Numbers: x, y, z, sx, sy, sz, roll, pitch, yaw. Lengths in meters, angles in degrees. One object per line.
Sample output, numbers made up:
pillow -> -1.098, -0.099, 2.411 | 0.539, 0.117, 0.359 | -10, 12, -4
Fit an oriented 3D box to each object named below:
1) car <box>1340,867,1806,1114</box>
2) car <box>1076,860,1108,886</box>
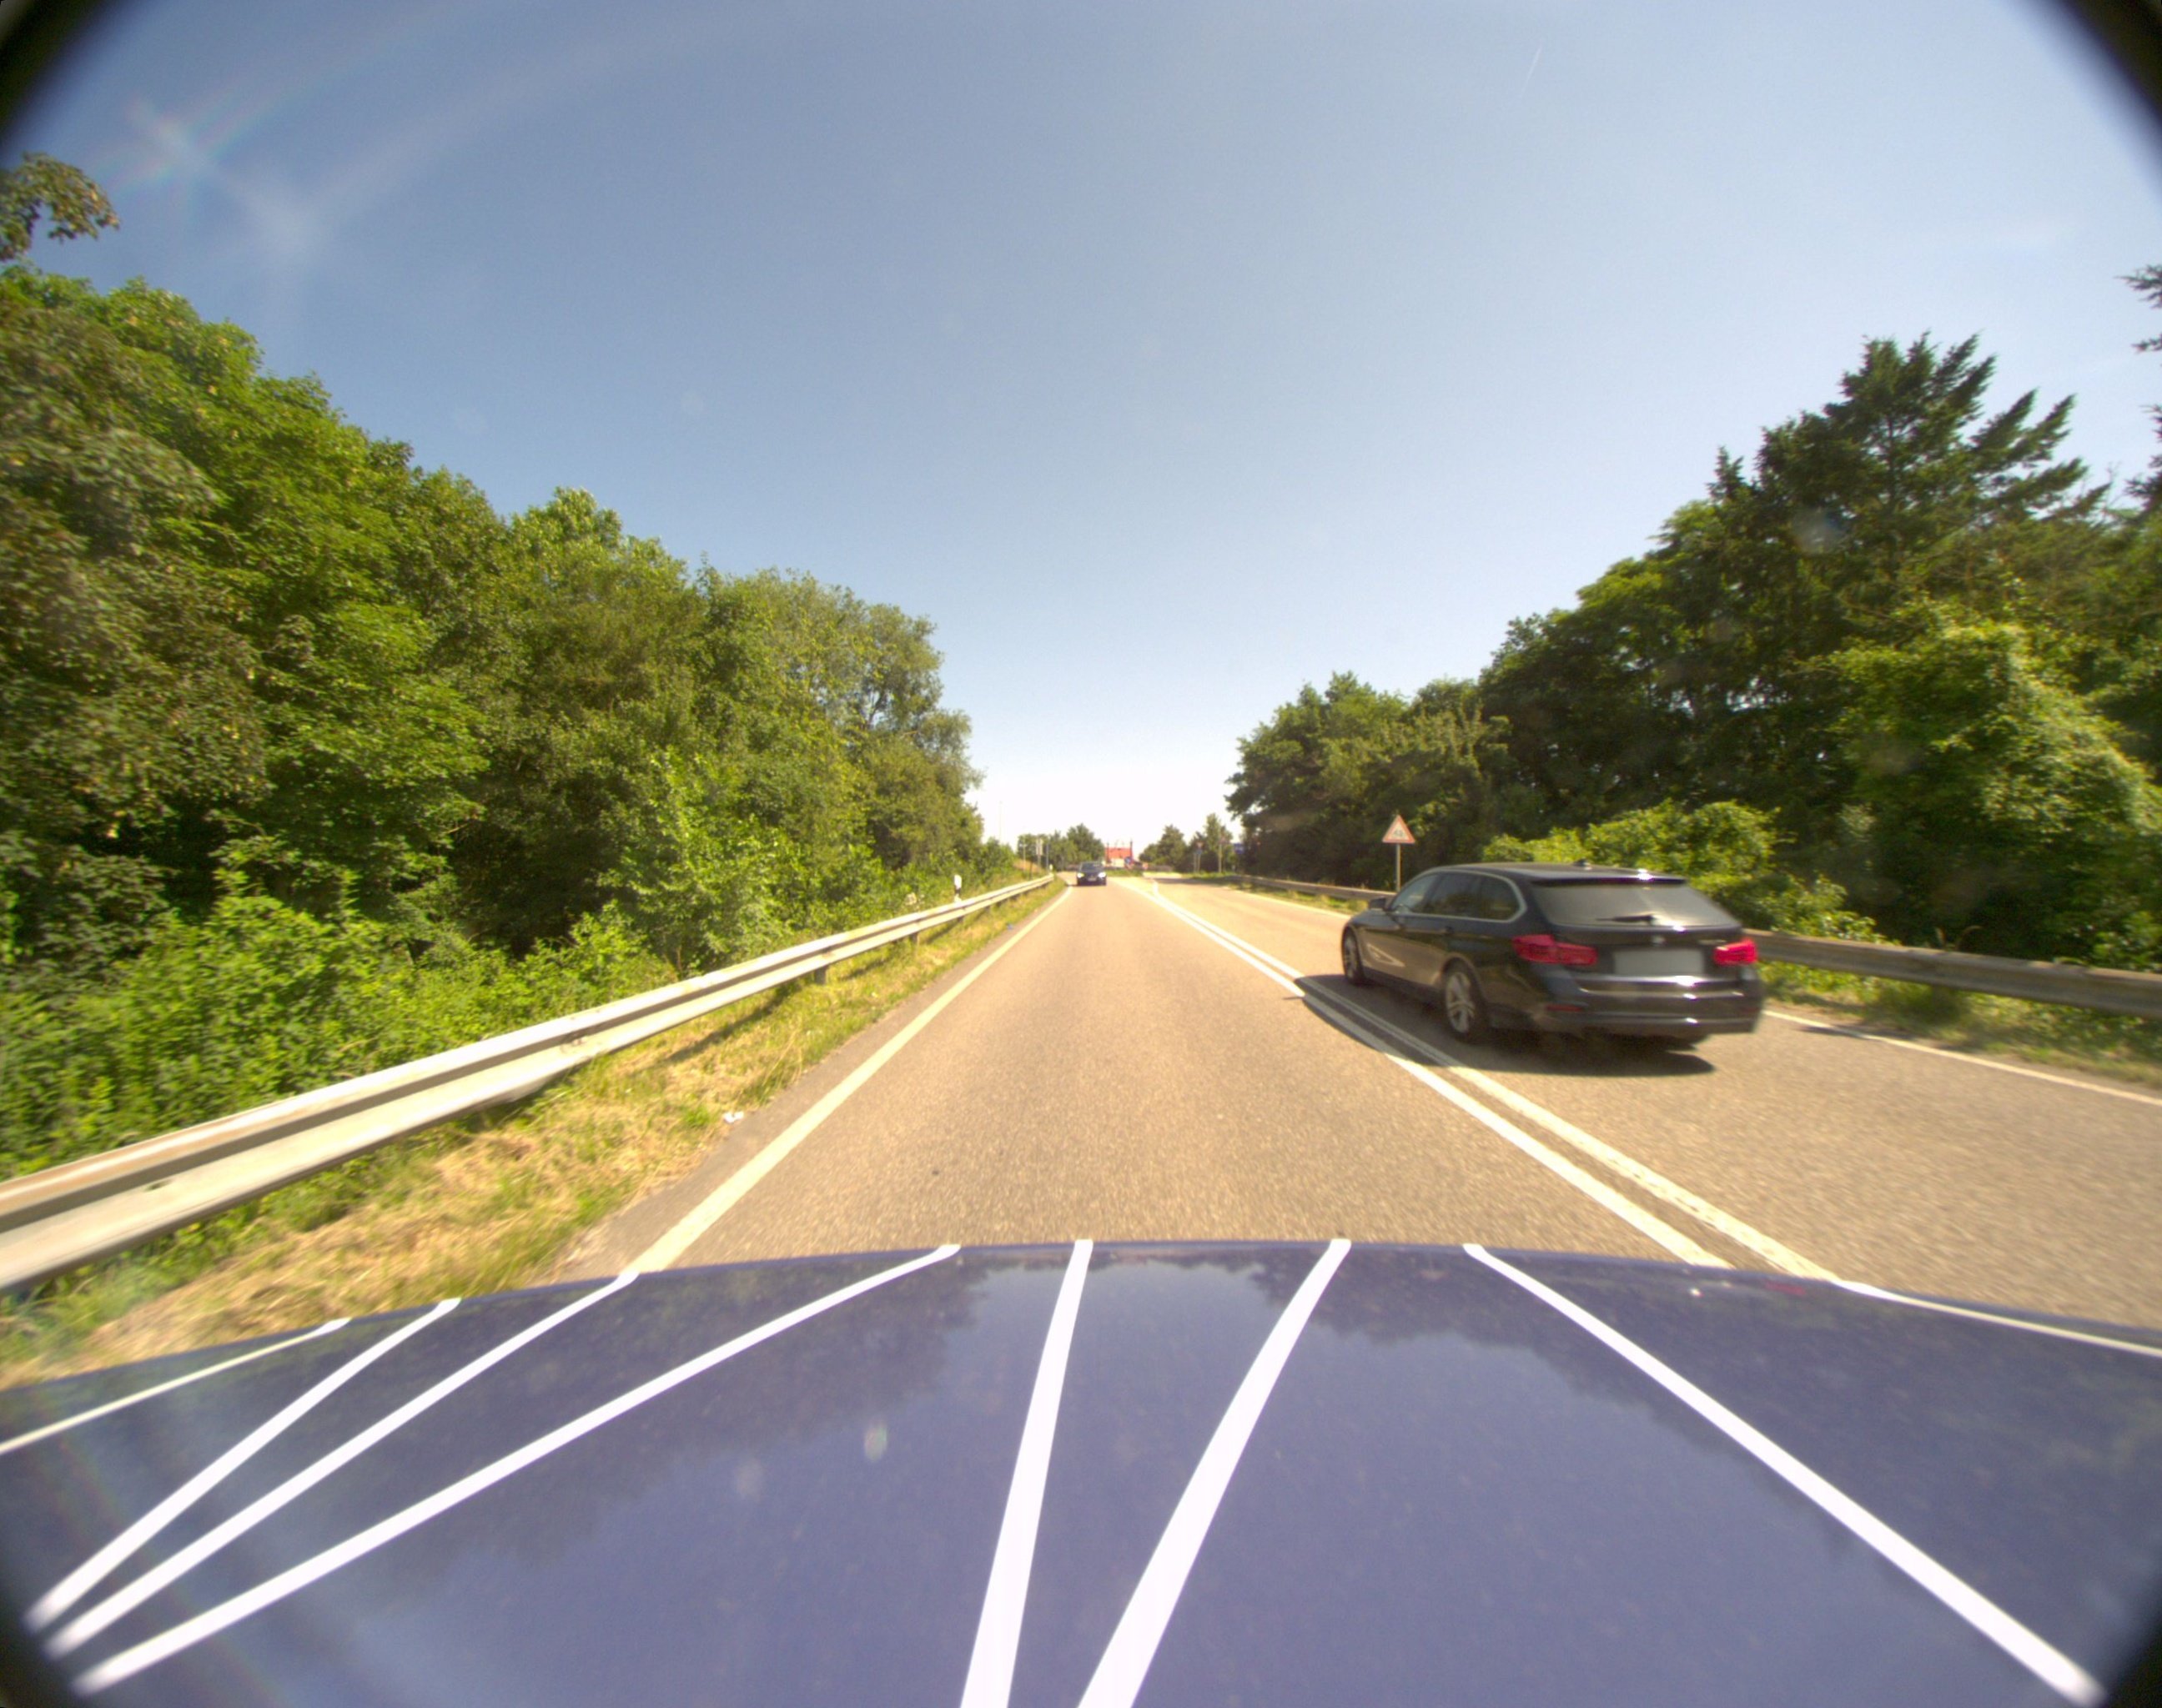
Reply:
car -> 3.798, 0.896, 6.875 | 1.611, 1.464, 4.220 | 0, 0, 2
car -> 0.687, 1.097, 45.150 | 1.806, 1.390, 4.181 | 2, 0, 2
